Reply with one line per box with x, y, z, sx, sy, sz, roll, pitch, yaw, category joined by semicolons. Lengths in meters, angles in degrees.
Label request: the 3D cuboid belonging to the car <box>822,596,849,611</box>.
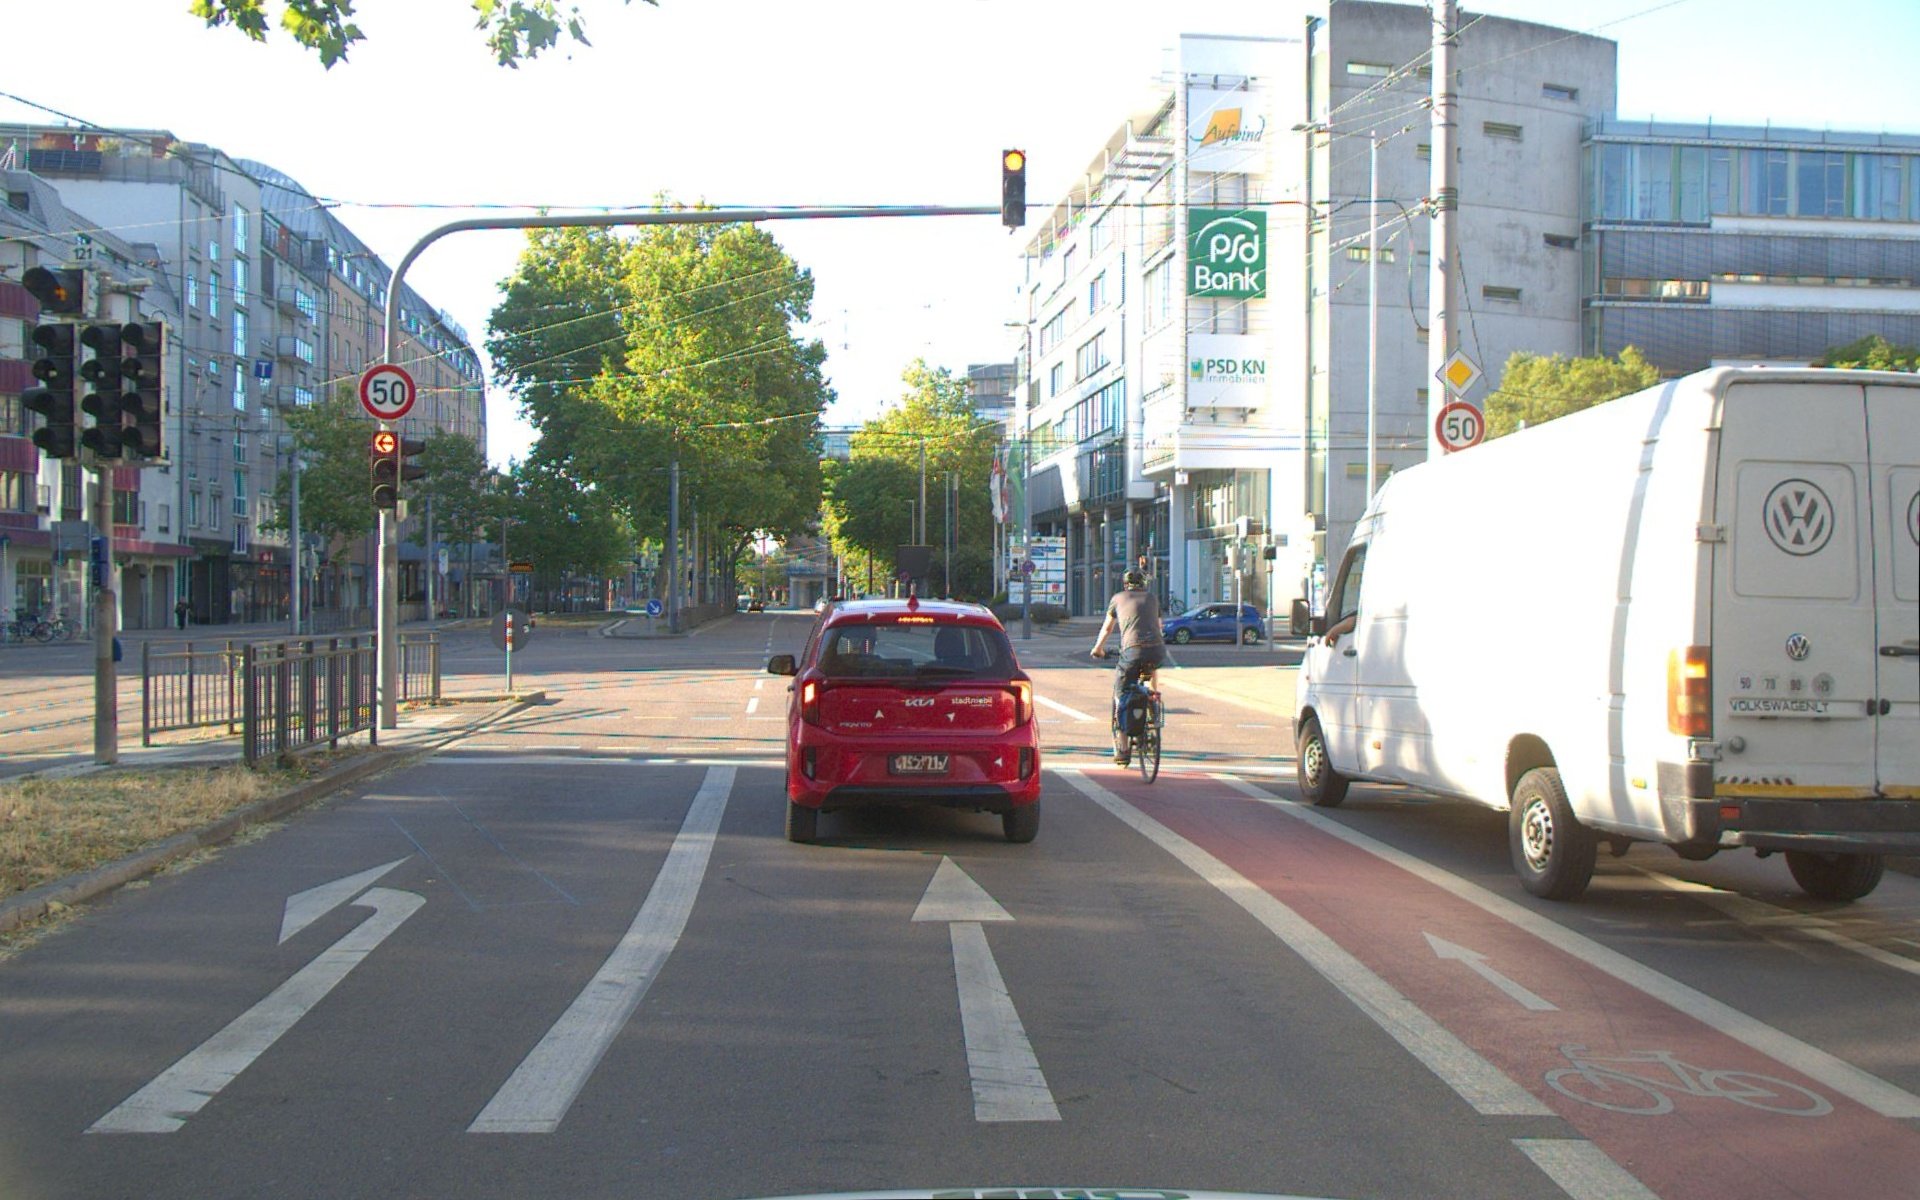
-12.765;0.339;169.835;2.432;1.555;4.423;-1;0;-8;car

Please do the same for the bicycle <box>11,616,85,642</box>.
-30.768;0.973;55.802;2.130;0.838;0.526;0;0;-10;bicycle

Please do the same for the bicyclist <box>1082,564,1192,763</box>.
1.550;0.544;14.588;0.730;1.698;0.742;2;0;-12;bicyclist

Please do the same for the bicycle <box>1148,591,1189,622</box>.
10.101;0.320;80.214;1.898;1.468;0.574;0;0;-8;bicycle

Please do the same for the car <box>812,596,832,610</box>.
-15.379;0.321;184.449;1.850;1.555;4.422;-1;0;-10;car

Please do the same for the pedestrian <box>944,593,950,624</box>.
-0.663;0.430;83.581;0.288;1.589;0.301;0;0;-9;pedestrian

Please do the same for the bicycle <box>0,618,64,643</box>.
-30.745;1.006;54.439;2.130;0.801;0.491;0;0;-10;bicycle

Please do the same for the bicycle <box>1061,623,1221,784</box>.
1.553;0.867;14.618;0.731;1.245;2.149;2;0;-12;bicycle

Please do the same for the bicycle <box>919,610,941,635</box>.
-1.471;1.105;81.659;0.778;1.182;2.495;0;0;-8;bicycle

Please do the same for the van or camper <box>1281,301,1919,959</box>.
4.059;0.147;10.314;2.225;2.781;6.339;2;0;-6;van or camper

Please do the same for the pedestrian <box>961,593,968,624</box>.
0.251;0.442;83.846;0.288;1.589;0.314;0;0;12;pedestrian

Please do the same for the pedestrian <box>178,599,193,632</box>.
-35.425;0.715;75.664;0.502;1.484;0.526;0;0;-14;pedestrian

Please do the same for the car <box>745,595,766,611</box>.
-22.200;0.308;179.352;2.021;1.682;3.482;-1;0;-12;car

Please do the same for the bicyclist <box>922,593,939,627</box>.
-1.449;0.508;81.434;0.770;1.663;0.637;0;0;-9;bicyclist

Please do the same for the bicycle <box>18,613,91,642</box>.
-30.887;0.923;56.435;2.130;0.967;0.491;0;0;-10;bicycle

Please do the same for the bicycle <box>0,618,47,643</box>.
-30.905;0.995;53.653;2.130;0.801;0.639;0;0;-10;bicycle

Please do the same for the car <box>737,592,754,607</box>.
-29.341;-0.076;226.392;1.953;2.049;3.999;0;0;-1;car

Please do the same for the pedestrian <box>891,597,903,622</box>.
-4.504;0.674;118.925;0.730;1.746;0.745;0;0;-14;pedestrian

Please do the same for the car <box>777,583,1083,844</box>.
-0.369;0.649;11.575;1.804;1.515;3.711;0;0;-7;car

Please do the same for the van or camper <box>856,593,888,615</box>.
-7.310;0.322;136.731;2.106;1.781;4.422;-1;0;-10;van or camper

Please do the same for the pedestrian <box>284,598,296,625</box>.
-37.221;0.660;91.937;0.501;1.484;0.527;0;0;-9;pedestrian

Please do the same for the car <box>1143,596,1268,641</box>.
9.019;0.651;60.921;4.184;1.595;1.844;0;0;-11;car

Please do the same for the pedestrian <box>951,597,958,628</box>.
-0.275;0.632;83.786;0.288;1.589;0.356;0;0;4;pedestrian
